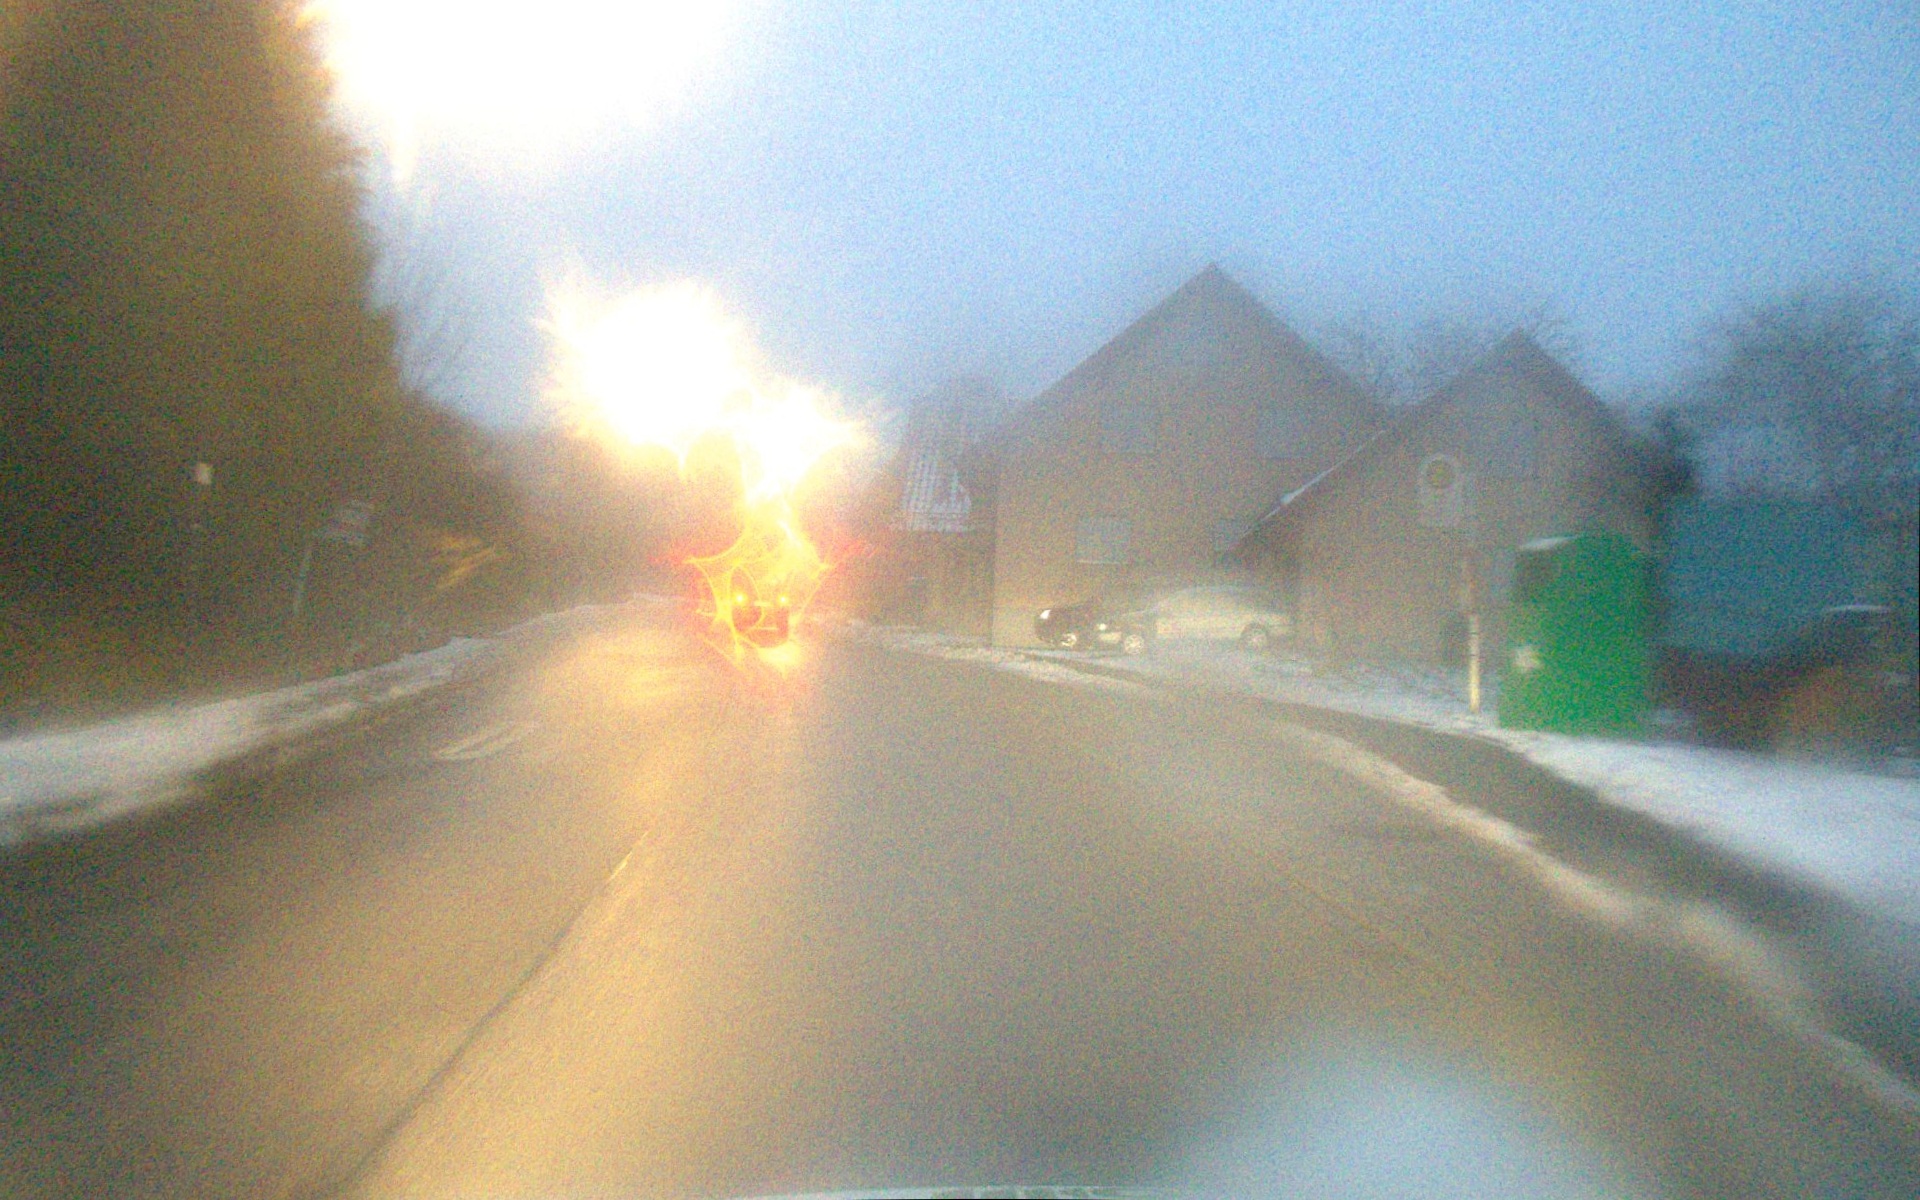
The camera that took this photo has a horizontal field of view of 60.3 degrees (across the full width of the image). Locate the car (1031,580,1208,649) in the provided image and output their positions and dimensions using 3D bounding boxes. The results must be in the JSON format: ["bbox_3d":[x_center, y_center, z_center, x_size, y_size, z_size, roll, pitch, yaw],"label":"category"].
[{"bbox_3d":[3.776,0.361,39.753,4.073,1.587,1.946,0,-3,0],"label":"car"}]

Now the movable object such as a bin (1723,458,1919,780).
[{"bbox_3d":[8.696,0.199,14.144,2.337,2.512,4.516,2,-1,2],"label":"movable object such as a bin"}]

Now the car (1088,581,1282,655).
[{"bbox_3d":[4.952,0.420,36.728,4.153,1.587,2.001,0,-3,5],"label":"car"}]

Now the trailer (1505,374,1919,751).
[{"bbox_3d":[8.609,-0.321,18.764,2.818,3.623,5.057,2,-1,-4],"label":"trailer"}]

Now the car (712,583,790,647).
[{"bbox_3d":[-6.390,0.494,50.250,1.959,1.767,3.865,1,-3,-13],"label":"car"}]
